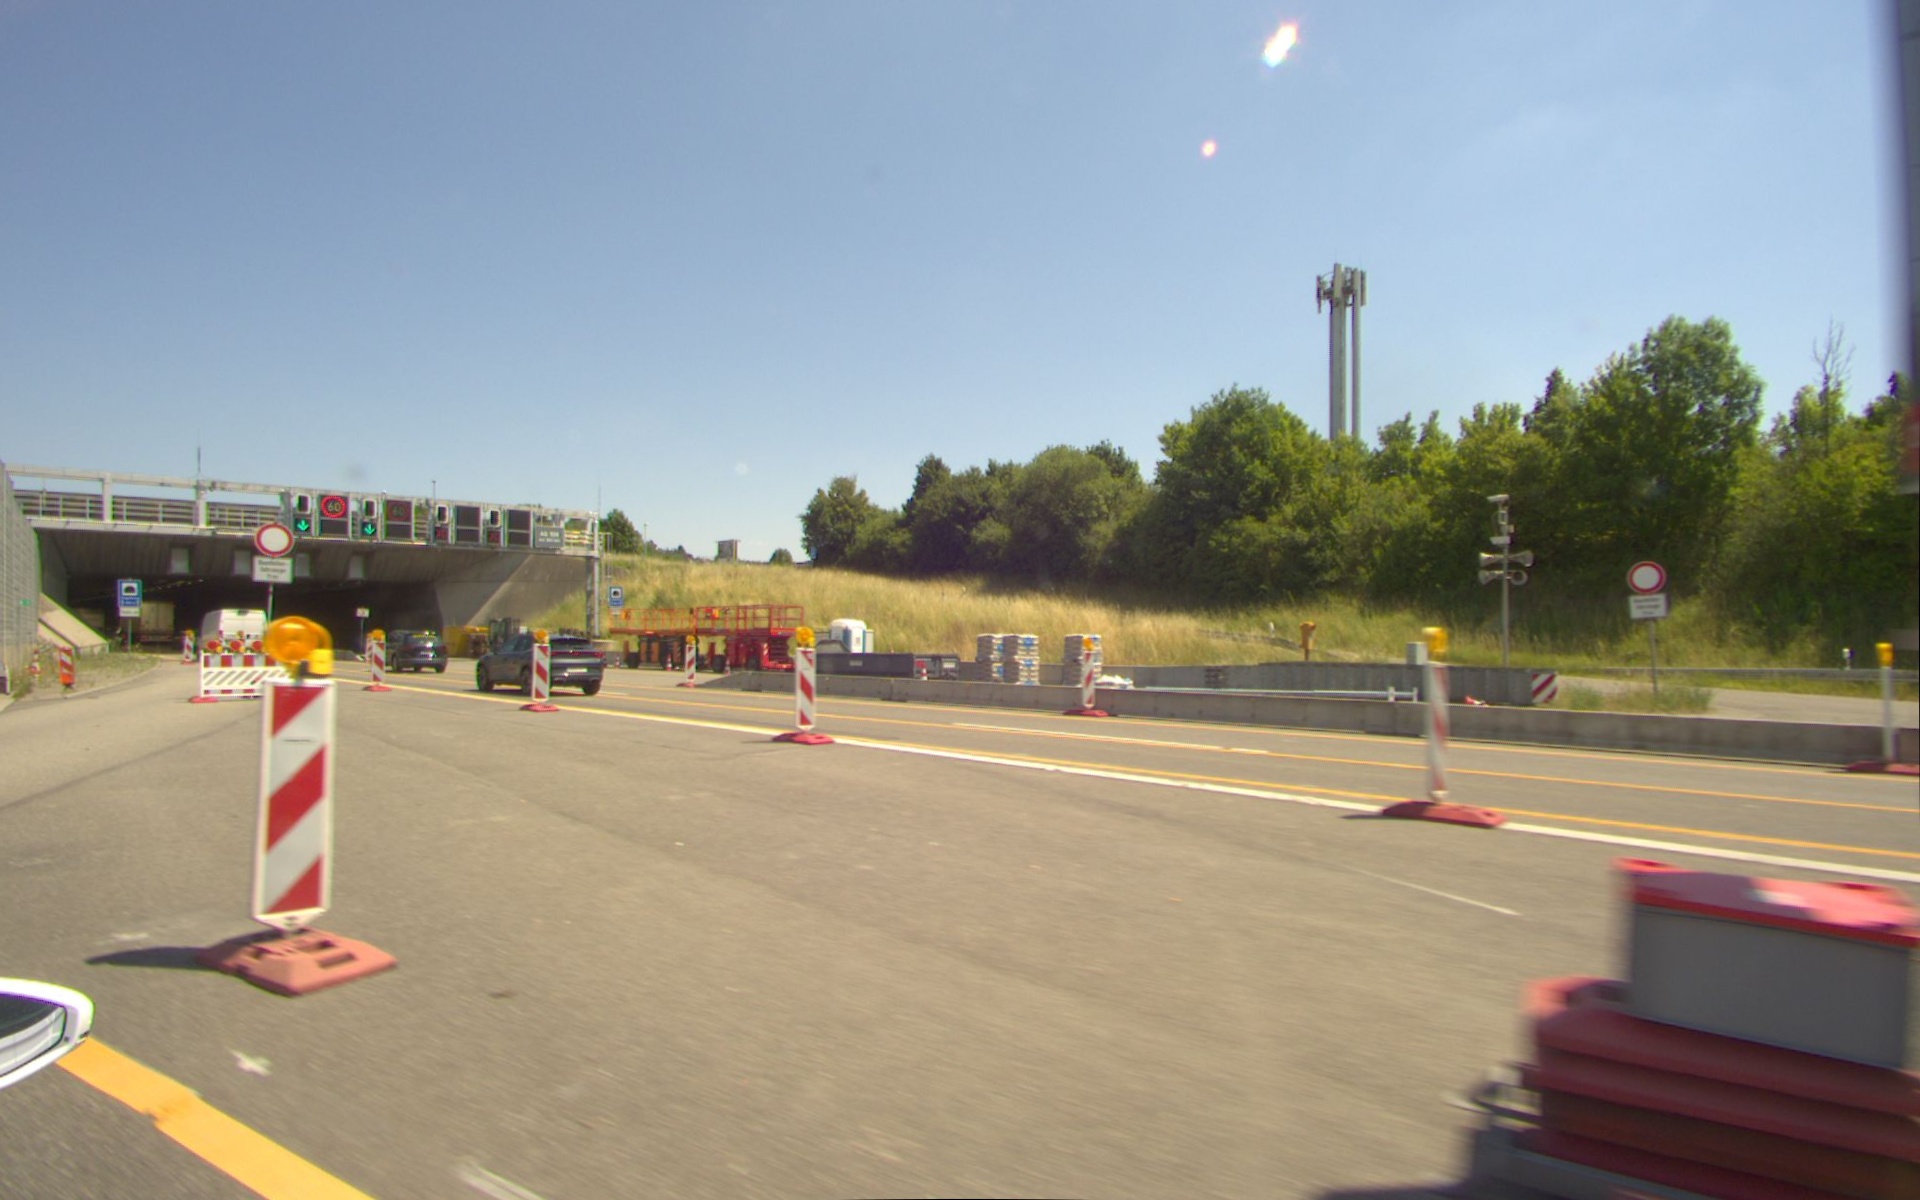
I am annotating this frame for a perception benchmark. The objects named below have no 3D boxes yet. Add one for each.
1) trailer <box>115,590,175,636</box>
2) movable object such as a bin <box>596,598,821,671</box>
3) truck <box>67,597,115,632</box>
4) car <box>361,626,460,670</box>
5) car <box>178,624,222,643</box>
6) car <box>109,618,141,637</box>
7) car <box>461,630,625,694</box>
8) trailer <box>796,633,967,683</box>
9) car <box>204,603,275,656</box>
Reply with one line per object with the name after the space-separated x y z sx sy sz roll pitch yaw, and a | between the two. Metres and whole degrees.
-79.618 1.435 97.676 13.946 4.112 2.718 -2 -3 43 | trailer
-12.524 1.609 48.138 14.543 3.050 3.094 -2 -1 43 | movable object such as a bin
-123.971 2.226 142.665 16.363 4.388 3.385 -3 -4 43 | truck
-22.321 1.921 40.558 5.181 1.683 2.009 -2 -3 43 | car
-59.057 2.624 77.808 4.599 1.483 1.807 -2 -3 41 | car
-74.351 2.483 89.129 1.804 1.663 4.608 3 -3 -44 | car
-10.753 1.526 25.666 4.622 1.505 1.985 -1 -3 40 | car
-2.956 2.048 36.727 6.160 1.589 2.584 -1 0 39 | trailer
-37.348 1.567 51.818 2.250 2.568 6.526 2 -3 -42 | car
